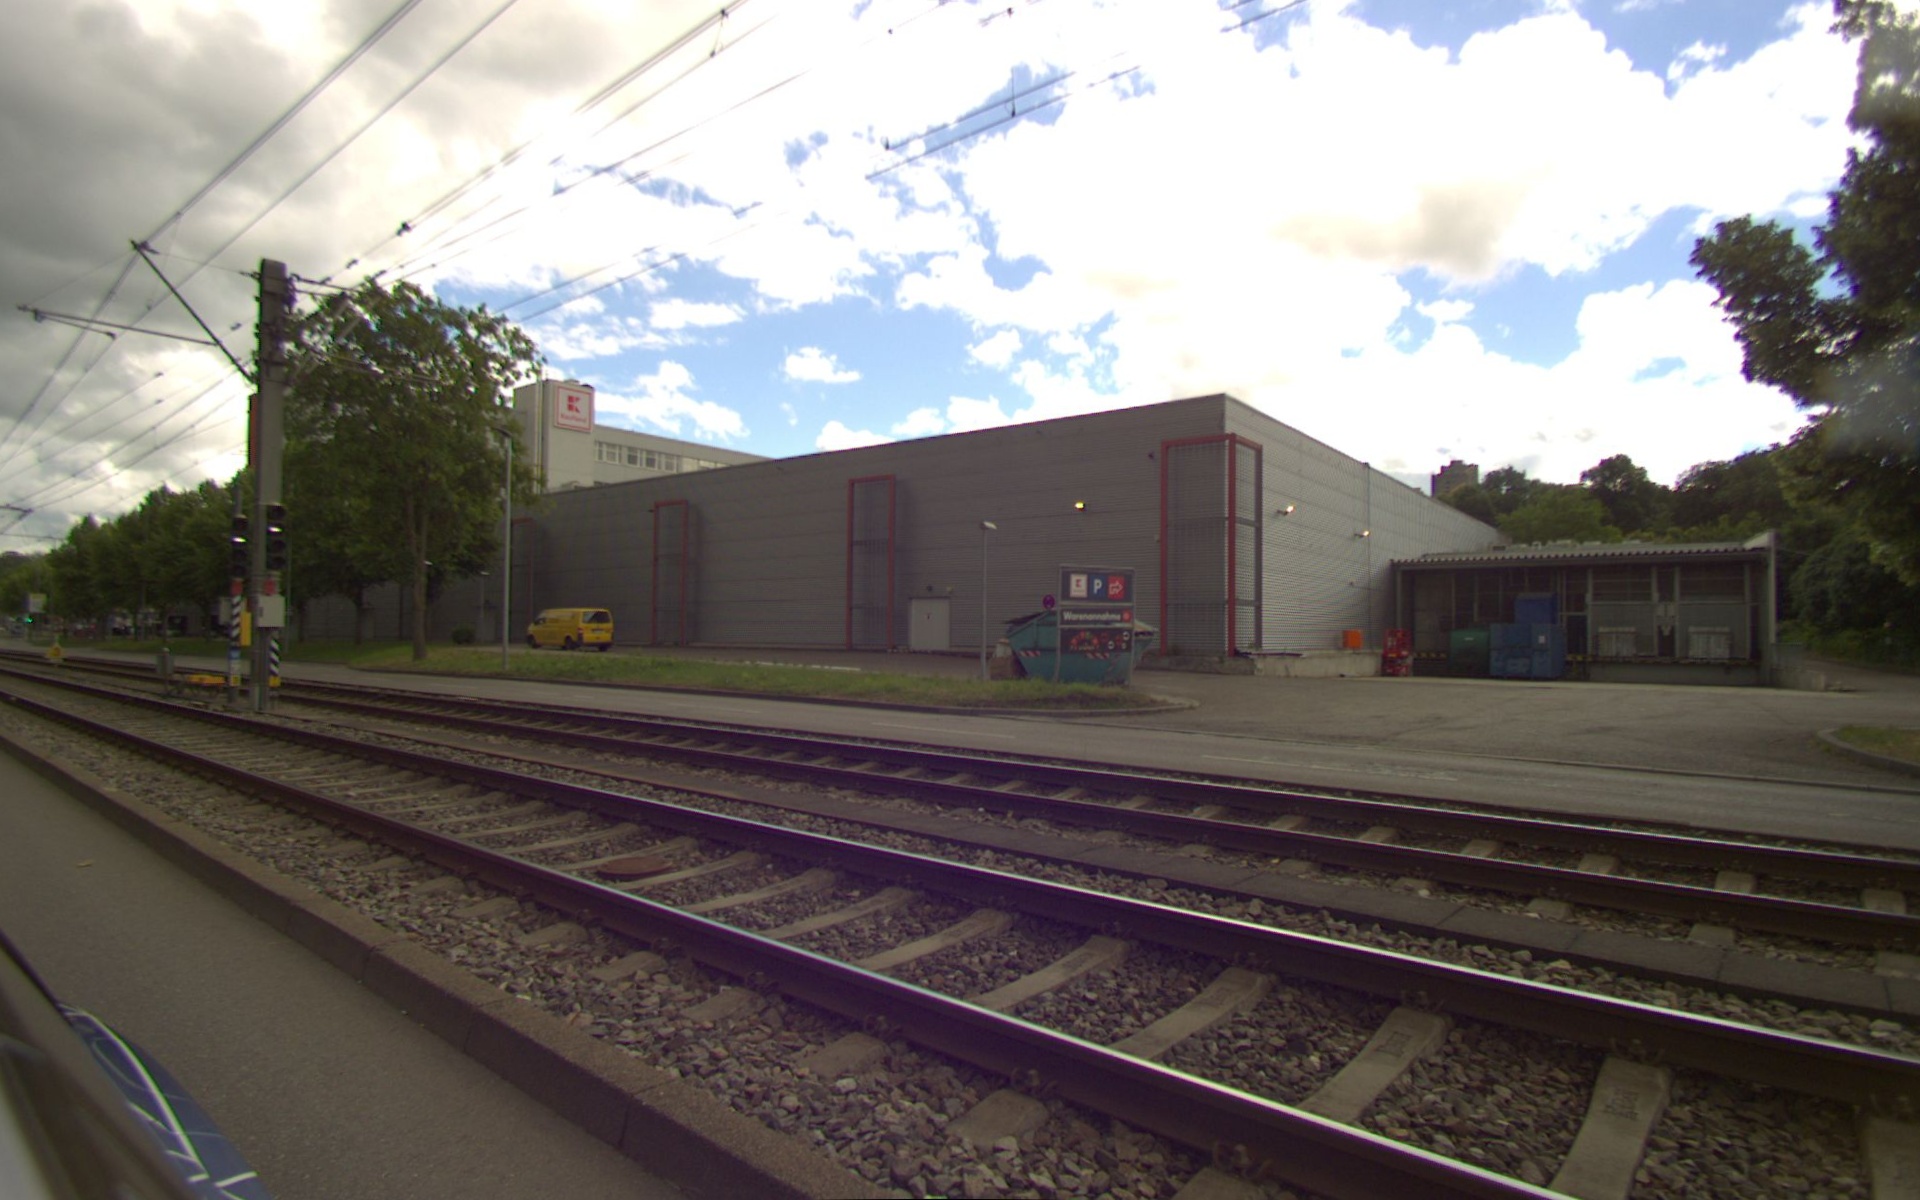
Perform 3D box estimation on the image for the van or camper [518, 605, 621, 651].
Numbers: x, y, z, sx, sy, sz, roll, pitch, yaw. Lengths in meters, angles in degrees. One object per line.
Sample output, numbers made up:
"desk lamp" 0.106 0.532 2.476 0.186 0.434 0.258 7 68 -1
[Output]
"van or camper" -18.202 1.290 47.120 5.235 2.029 2.083 -1 -2 38
